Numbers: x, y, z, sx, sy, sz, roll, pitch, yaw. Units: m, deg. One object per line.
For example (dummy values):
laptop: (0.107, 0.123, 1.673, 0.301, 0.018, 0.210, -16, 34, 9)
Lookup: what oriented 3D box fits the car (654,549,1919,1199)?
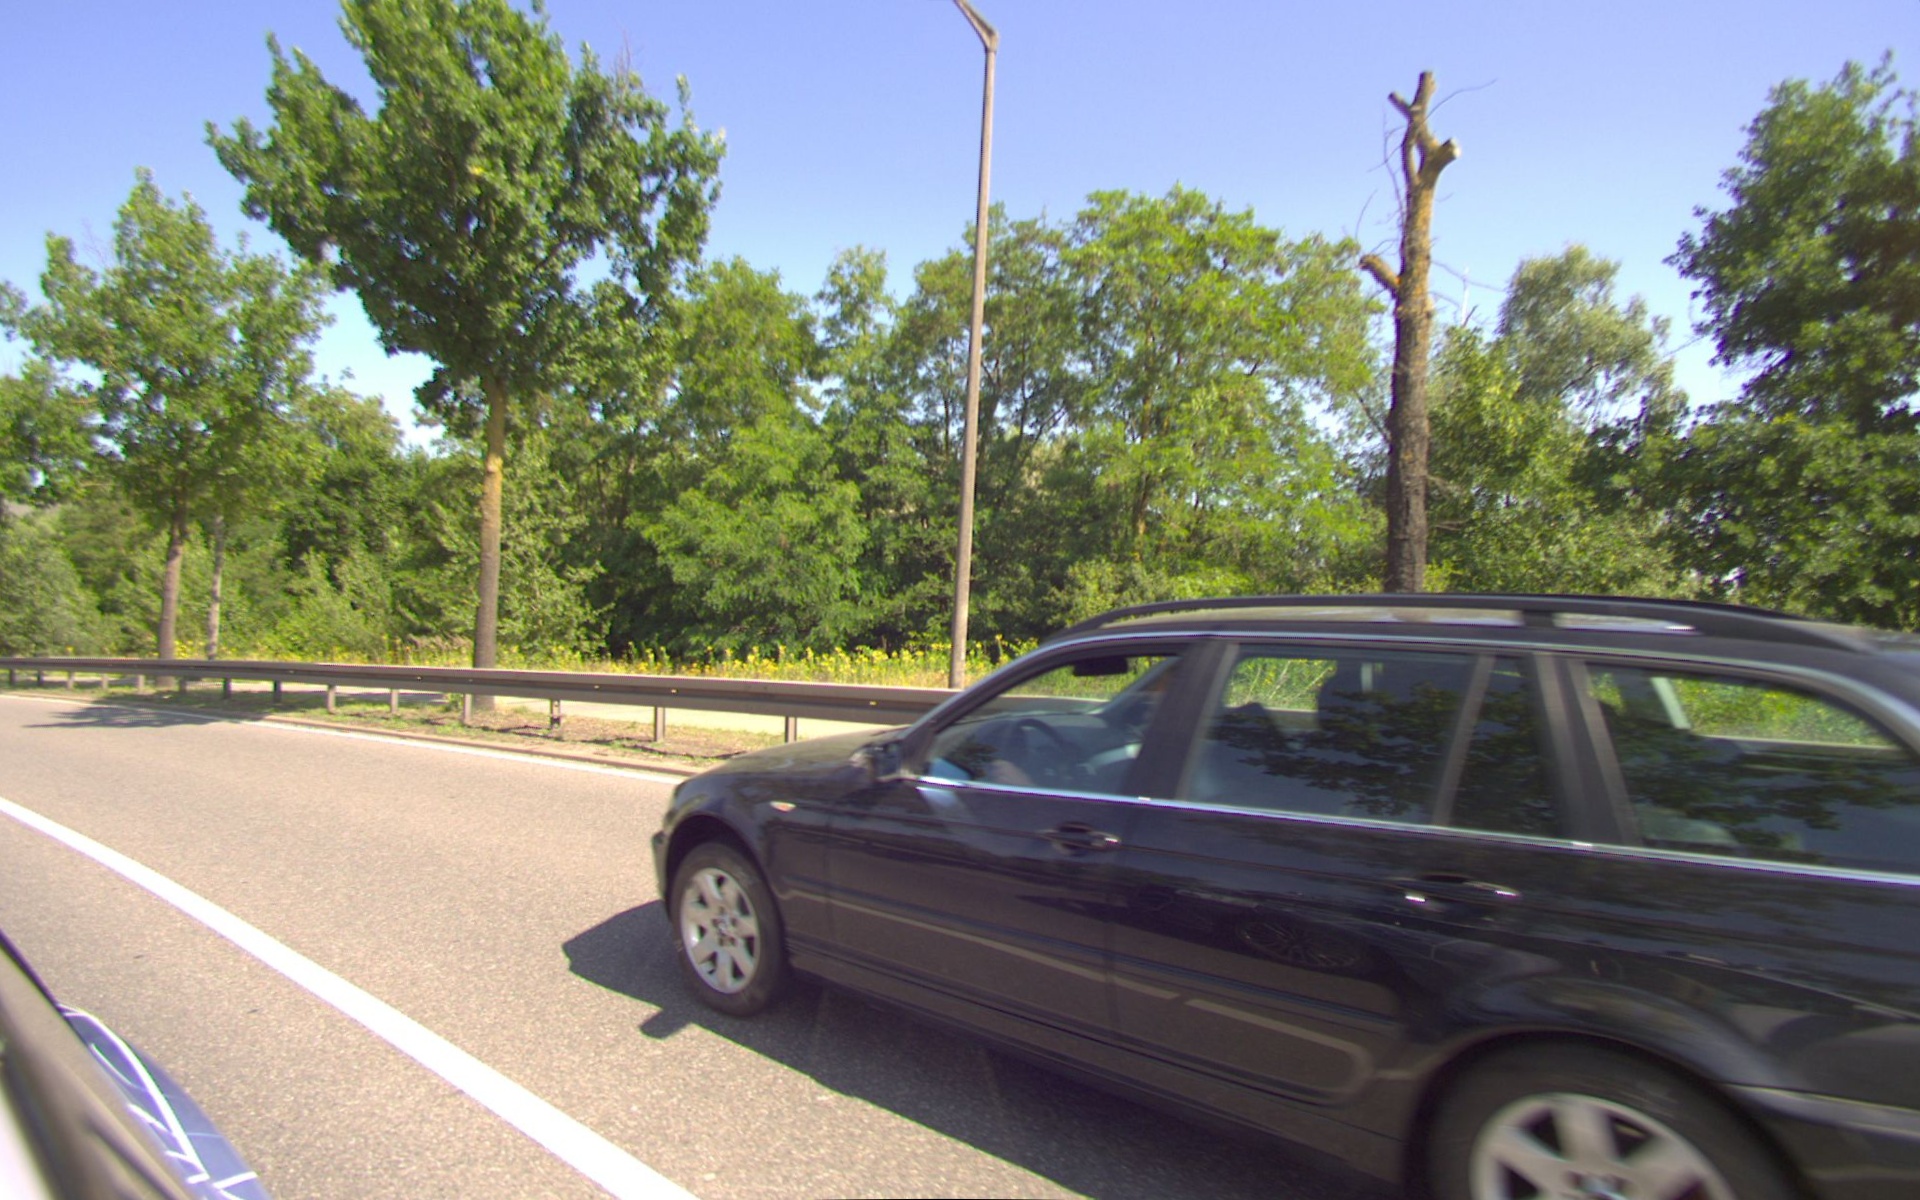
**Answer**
car: (0.980, 0.653, 3.018, 4.119, 1.459, 1.684, -1, 0, 41)
